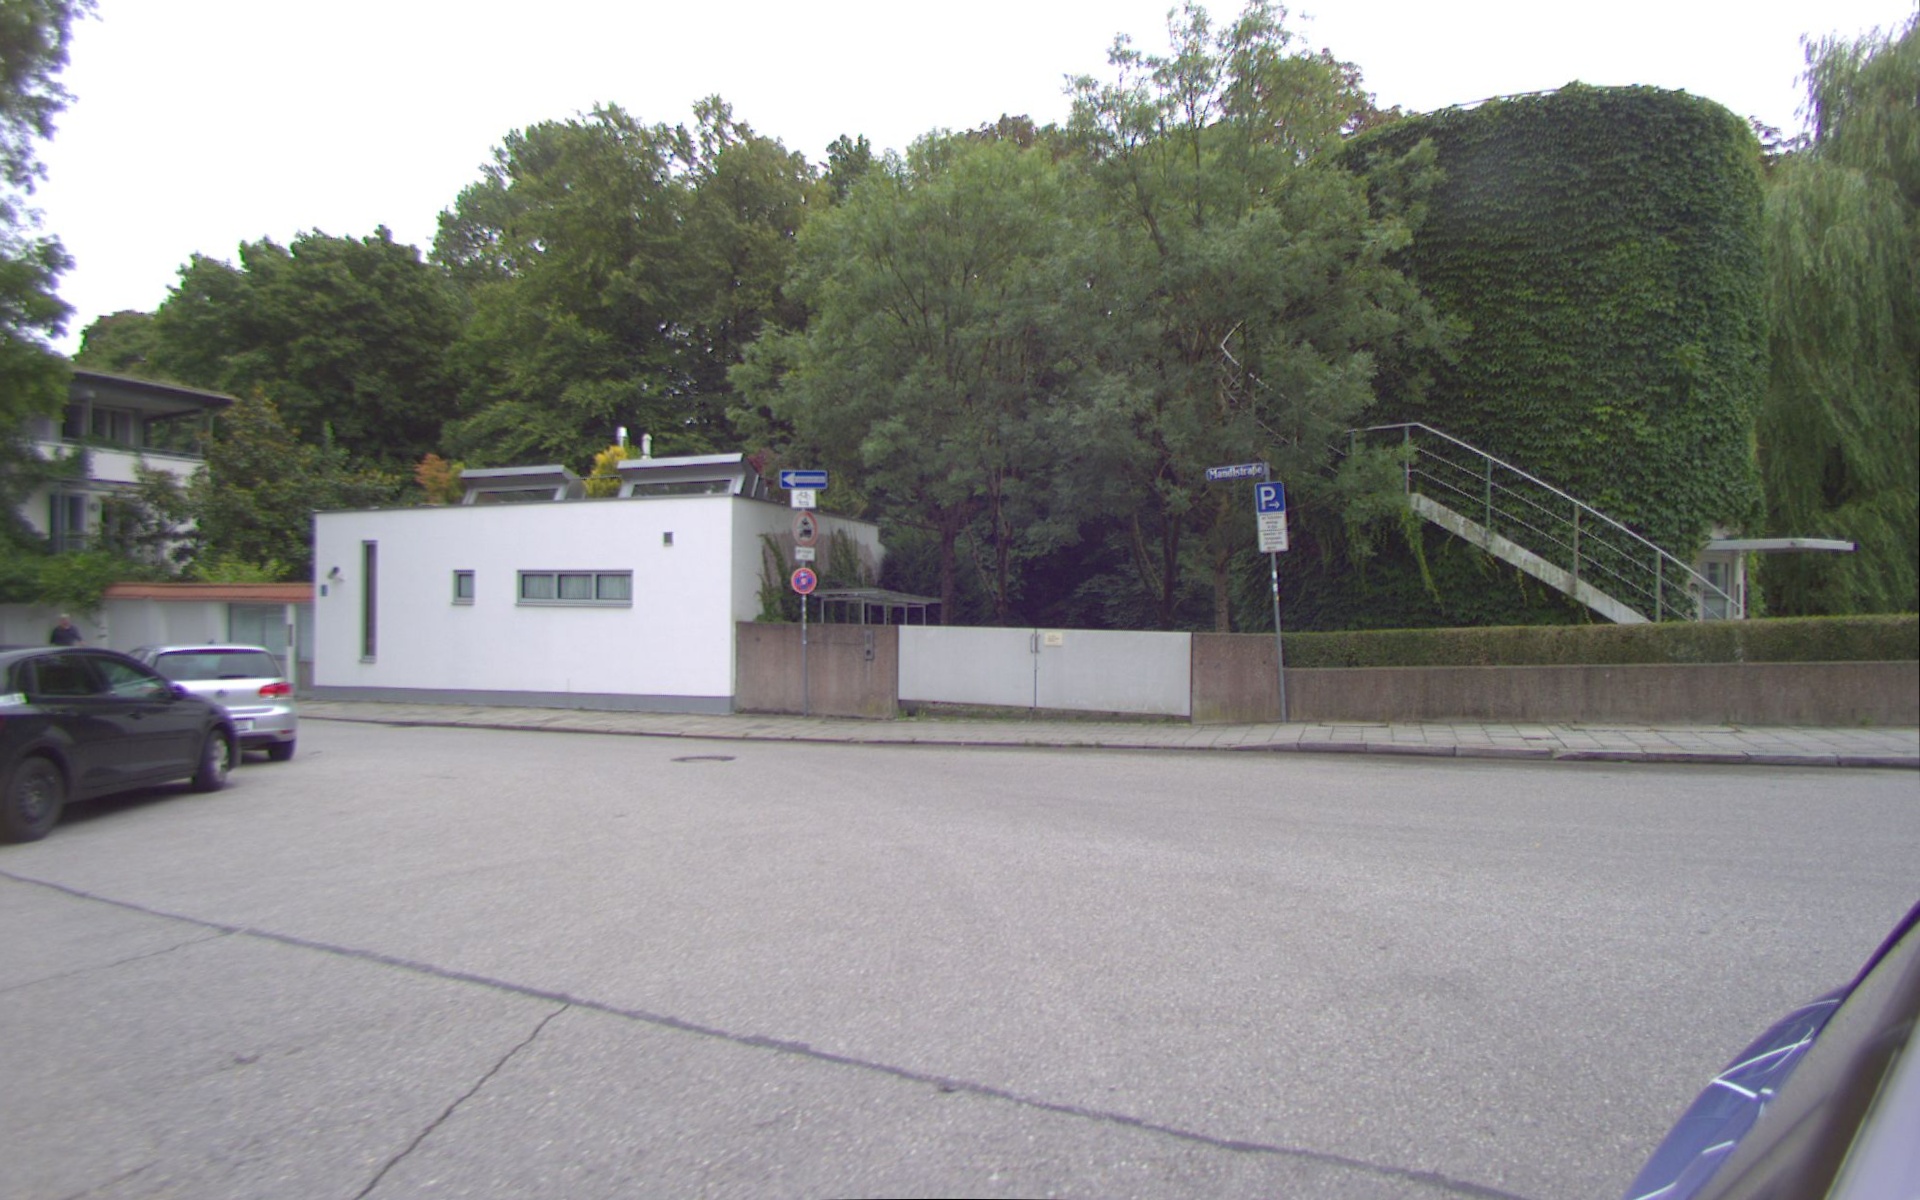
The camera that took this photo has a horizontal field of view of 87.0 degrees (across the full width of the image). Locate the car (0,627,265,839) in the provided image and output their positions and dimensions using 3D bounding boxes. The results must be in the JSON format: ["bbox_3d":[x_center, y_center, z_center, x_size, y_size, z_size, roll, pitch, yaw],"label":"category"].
[{"bbox_3d":[-7.899,1.013,8.581,1.858,1.465,4.020,-2,-2,-11],"label":"car"}]

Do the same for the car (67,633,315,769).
[{"bbox_3d":[-9.964,1.177,13.008,4.000,1.465,1.910,-2,-4,44],"label":"car"}]

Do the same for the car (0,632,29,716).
[{"bbox_3d":[-19.122,1.309,18.304,3.970,1.465,1.925,0,-1,24],"label":"car"}]

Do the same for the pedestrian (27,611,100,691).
[{"bbox_3d":[-22.461,1.246,25.364,1.218,1.956,0.944,-1,-1,23],"label":"pedestrian"}]
